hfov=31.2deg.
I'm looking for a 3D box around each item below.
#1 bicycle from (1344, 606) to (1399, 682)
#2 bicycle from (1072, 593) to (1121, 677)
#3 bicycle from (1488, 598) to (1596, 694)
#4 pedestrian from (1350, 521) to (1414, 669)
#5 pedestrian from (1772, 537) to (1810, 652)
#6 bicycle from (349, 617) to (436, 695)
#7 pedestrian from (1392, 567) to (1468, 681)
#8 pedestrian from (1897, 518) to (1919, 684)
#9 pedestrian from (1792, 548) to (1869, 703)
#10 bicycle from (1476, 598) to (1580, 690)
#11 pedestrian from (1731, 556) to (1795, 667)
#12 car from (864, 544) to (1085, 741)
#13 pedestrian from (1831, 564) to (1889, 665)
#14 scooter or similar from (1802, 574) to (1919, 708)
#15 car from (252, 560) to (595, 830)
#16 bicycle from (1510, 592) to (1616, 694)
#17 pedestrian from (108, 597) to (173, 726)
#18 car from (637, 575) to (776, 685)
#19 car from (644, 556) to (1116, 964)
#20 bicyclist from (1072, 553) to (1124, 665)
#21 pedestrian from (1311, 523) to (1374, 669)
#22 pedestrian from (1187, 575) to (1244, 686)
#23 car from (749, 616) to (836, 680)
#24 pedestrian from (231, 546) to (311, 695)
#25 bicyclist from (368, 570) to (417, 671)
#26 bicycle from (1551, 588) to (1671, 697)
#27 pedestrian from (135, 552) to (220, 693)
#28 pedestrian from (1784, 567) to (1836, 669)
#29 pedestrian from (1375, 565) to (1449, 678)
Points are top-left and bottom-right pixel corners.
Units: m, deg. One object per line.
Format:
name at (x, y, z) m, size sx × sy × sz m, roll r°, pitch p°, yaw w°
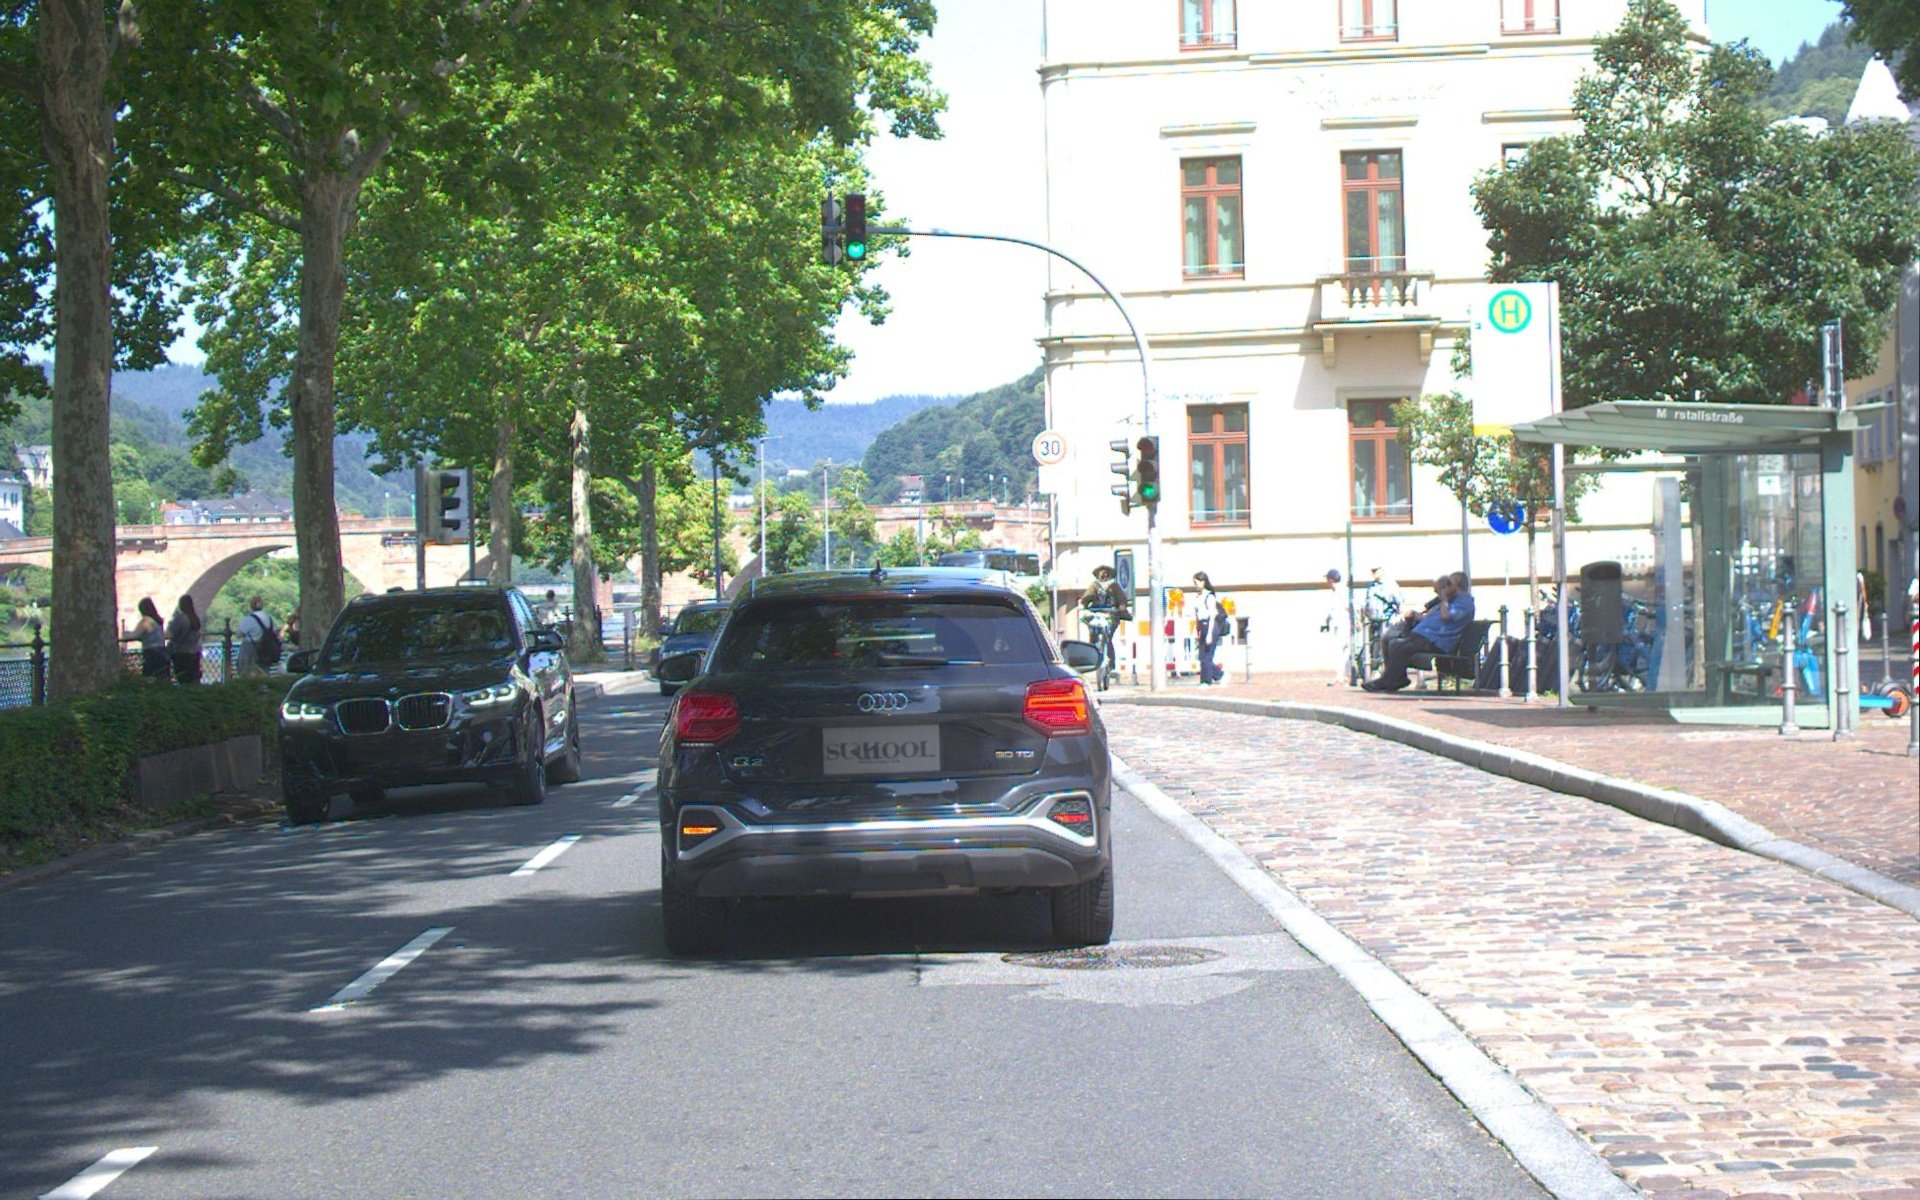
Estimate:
bicycle at (5.304, 0.558, 44.338) m, size 0.298 × 0.960 × 1.188 m, roll 1°, pitch 0°, yaw -13°
bicycle at (1.787, 0.453, 45.101) m, size 0.437 × 1.082 × 1.677 m, roll 1°, pitch 0°, yaw -4°
bicycle at (6.316, 0.501, 37.299) m, size 1.201 × 1.032 × 0.179 m, roll 1°, pitch -1°, yaw -18°
pedestrian at (5.766, -0.070, 46.988) m, size 0.640 × 2.007 × 0.664 m, roll 0°, pitch -1°, yaw 29°
pedestrian at (12.162, -0.083, 50.319) m, size 0.449 × 1.675 × 0.466 m, roll 1°, pitch 0°, yaw 3°
bicycle at (-7.352, 0.730, 44.576) m, size 1.093 × 1.003 × 0.304 m, roll 1°, pitch -1°, yaw -6°
pedestrian at (5.033, 0.259, 36.834) m, size 0.663 × 1.207 × 0.641 m, roll 1°, pitch 0°, yaw -6°
pedestrian at (10.673, 0.005, 37.512) m, size 0.652 × 1.796 × 0.847 m, roll 0°, pitch 0°, yaw -1°
pedestrian at (7.862, 0.228, 31.066) m, size 0.557 × 1.380 × 0.588 m, roll 1°, pitch 0°, yaw 2°
bicycle at (6.282, 0.487, 38.001) m, size 1.184 × 1.012 × 0.179 m, roll 1°, pitch -1°, yaw -18°
pedestrian at (14.613, 0.208, 62.571) m, size 0.944 × 2.007 × 0.807 m, roll 1°, pitch 0°, yaw 0°
car at (0.108, 0.335, 29.972) m, size 1.793 × 1.589 × 3.399 m, roll 1°, pitch 0°, yaw 0°
pedestrian at (17.975, 0.291, 68.664) m, size 0.940 × 2.007 × 0.807 m, roll 1°, pitch 0°, yaw 0°
scooter or similar at (7.388, 0.332, 27.771) m, size 1.088 × 1.062 × 0.323 m, roll 1°, pitch 0°, yaw -2°
car at (-4.042, 0.652, 26.598) m, size 1.813 × 1.719 × 4.422 m, roll -6°, pitch 1°, yaw 0°
bicycle at (6.405, 0.455, 36.510) m, size 1.157 × 1.066 × 0.179 m, roll 1°, pitch -1°, yaw -18°
pedestrian at (-10.352, 0.770, 43.430) m, size 0.625 × 1.613 × 0.585 m, roll 1°, pitch 0°, yaw 4°
car at (-4.321, 0.513, 59.201) m, size 1.993 × 1.800 × 4.000 m, roll 1°, pitch 0°, yaw 1°
car at (-0.308, 0.574, 14.590) m, size 1.743 × 1.504 × 3.647 m, roll 0°, pitch 1°, yaw 0°
bicyclist at (1.809, 0.119, 45.136) m, size 0.605 × 1.445 × 0.591 m, roll 1°, pitch 0°, yaw -5°
pedestrian at (5.309, -0.057, 47.697) m, size 0.640 × 2.007 × 0.664 m, roll 0°, pitch -1°, yaw 29°
pedestrian at (3.466, 0.414, 46.634) m, size 0.693 × 1.495 × 0.514 m, roll 1°, pitch 0°, yaw -4°
car at (-4.382, 1.235, 90.278) m, size 1.993 × 1.620 × 4.000 m, roll 1°, pitch 0°, yaw 1°
pedestrian at (-9.345, 0.278, 46.627) m, size 0.911 × 2.007 × 0.585 m, roll 1°, pitch 0°, yaw 4°
bicyclist at (-7.362, 0.266, 44.628) m, size 0.566 × 1.307 × 0.552 m, roll 1°, pitch 0°, yaw -4°
bicycle at (6.793, 0.442, 35.872) m, size 1.303 × 1.124 × 0.179 m, roll 1°, pitch -1°, yaw -18°
pedestrian at (-10.152, 0.296, 44.602) m, size 0.911 × 1.805 × 0.585 m, roll 1°, pitch -1°, yaw 4°
pedestrian at (16.950, 0.357, 68.549) m, size 0.839 × 2.007 × 0.738 m, roll 1°, pitch 0°, yaw 0°
pedestrian at (4.945, 0.236, 37.645) m, size 0.663 × 1.227 × 0.641 m, roll 1°, pitch 0°, yaw -6°
